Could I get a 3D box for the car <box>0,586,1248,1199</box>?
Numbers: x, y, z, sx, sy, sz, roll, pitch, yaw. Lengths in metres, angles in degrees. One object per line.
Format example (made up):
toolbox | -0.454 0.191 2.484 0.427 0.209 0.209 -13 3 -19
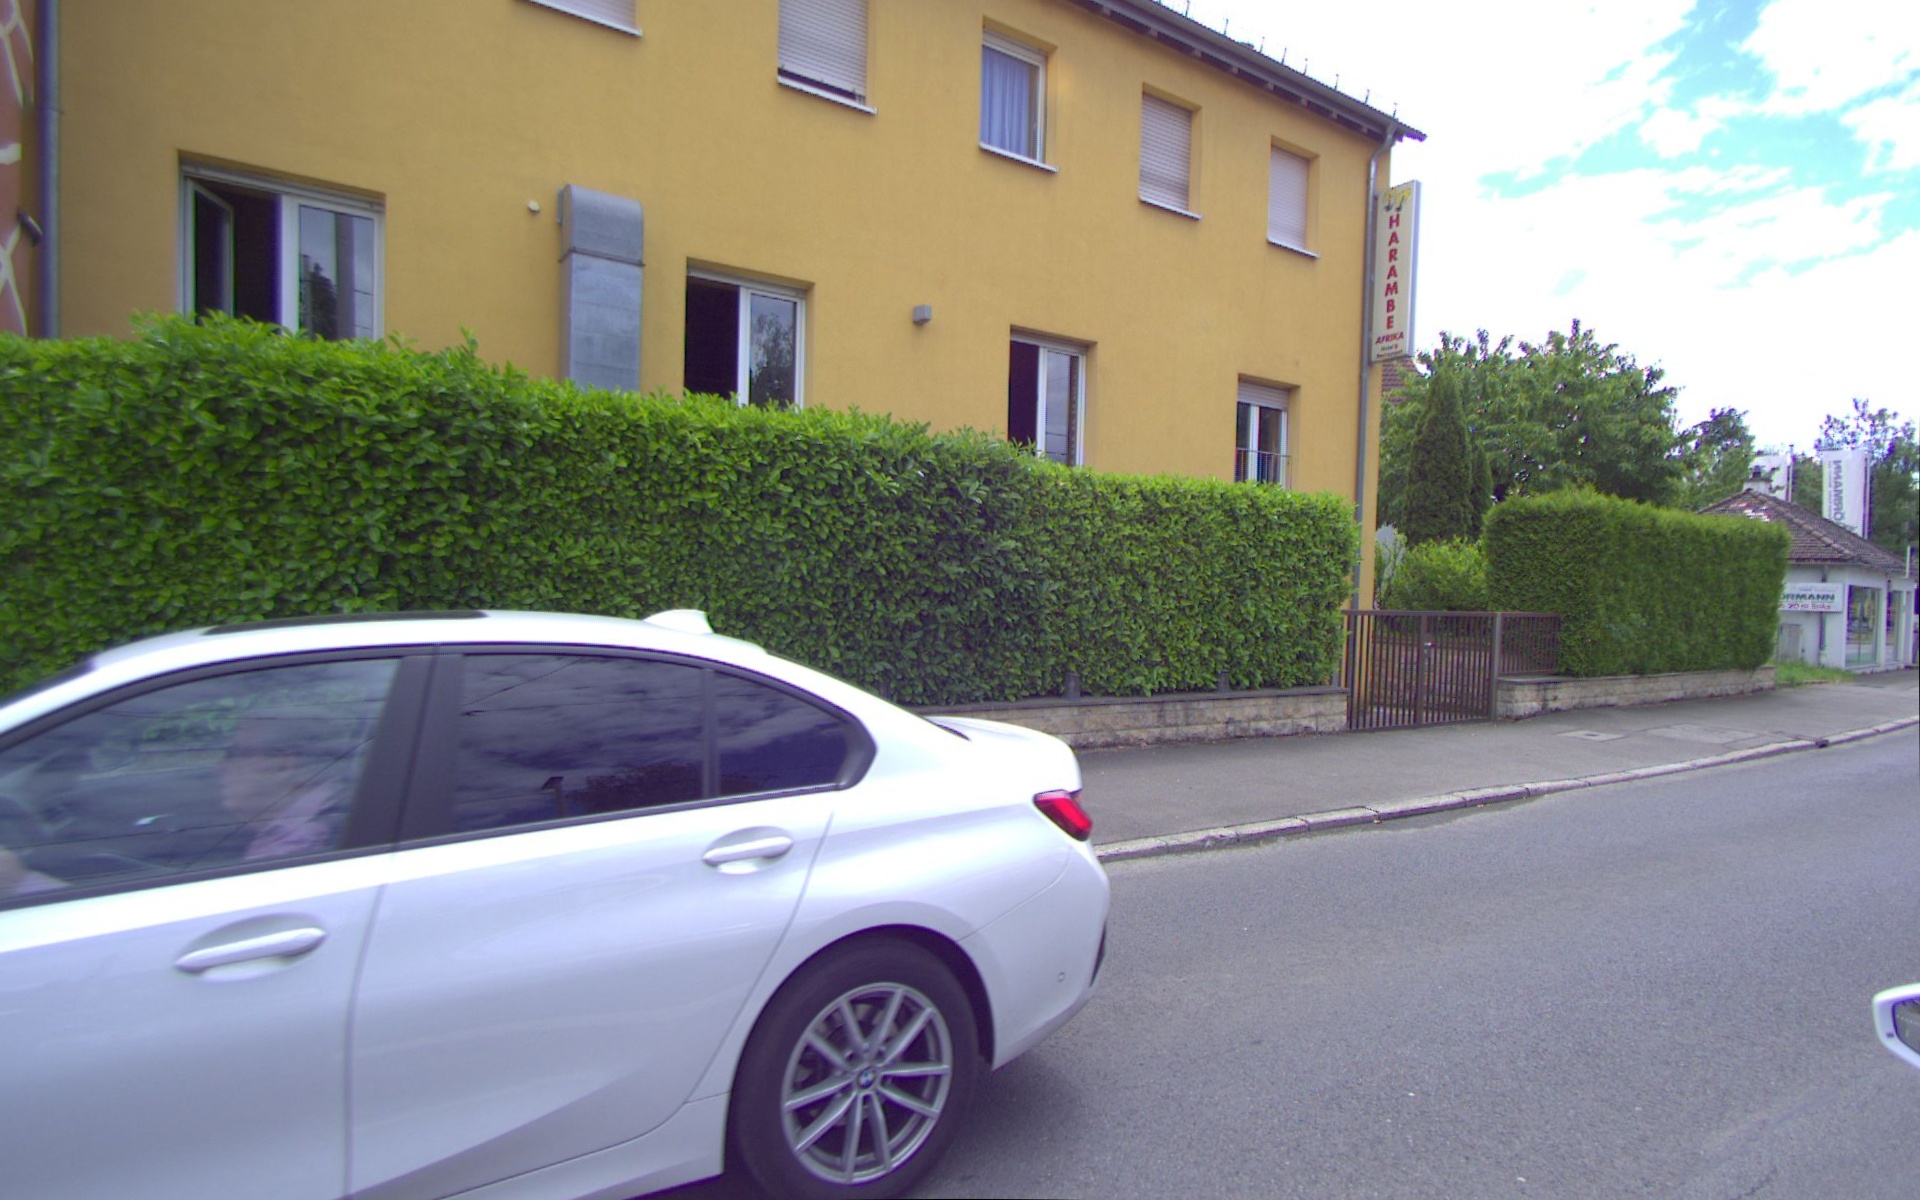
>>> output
car | -1.462 0.723 2.659 4.413 1.438 1.809 2 -1 -32
